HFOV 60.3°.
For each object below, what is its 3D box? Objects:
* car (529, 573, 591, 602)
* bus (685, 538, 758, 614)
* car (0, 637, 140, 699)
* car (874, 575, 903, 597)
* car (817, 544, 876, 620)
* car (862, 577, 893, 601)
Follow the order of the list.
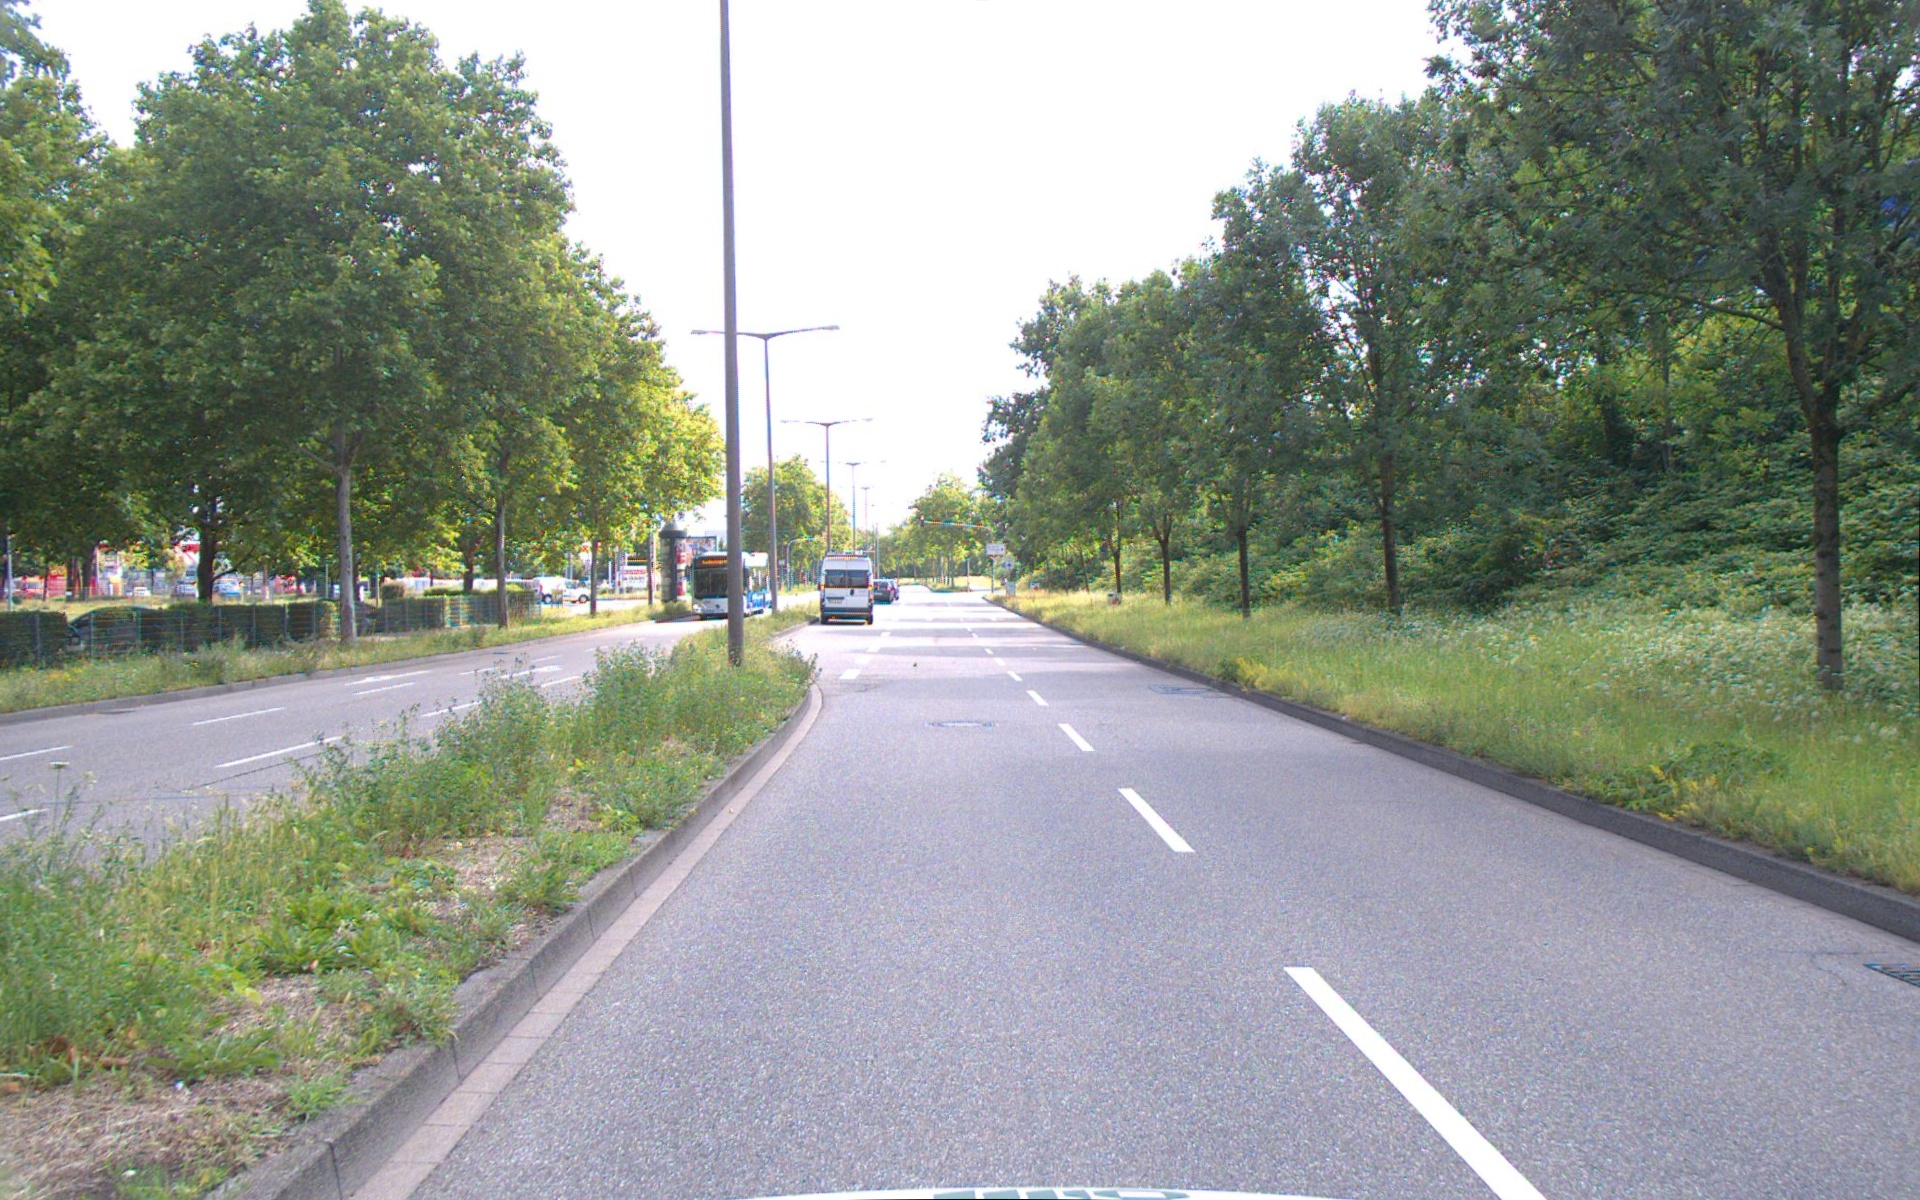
[{"bbox_3d":[-28.851,-0.877,119.286,3.964,1.870,1.837,3,-5,-41],"label":"car"},{"bbox_3d":[-11.597,-1.029,81.430,3.050,3.332,12.319,-2,0,-6],"label":"bus"},{"bbox_3d":[-24.334,1.893,45.244,1.853,1.624,3.998,0,-3,-1],"label":"car"},{"bbox_3d":[-5.100,-0.989,117.498,1.772,1.496,3.851,-1,0,-6],"label":"car"},{"bbox_3d":[-4.374,-0.678,63.691,2.154,2.774,4.927,1,0,-4],"label":"car"},{"bbox_3d":[-5.293,-0.695,105.618,1.772,1.496,3.851,-1,0,-6],"label":"car"}]
